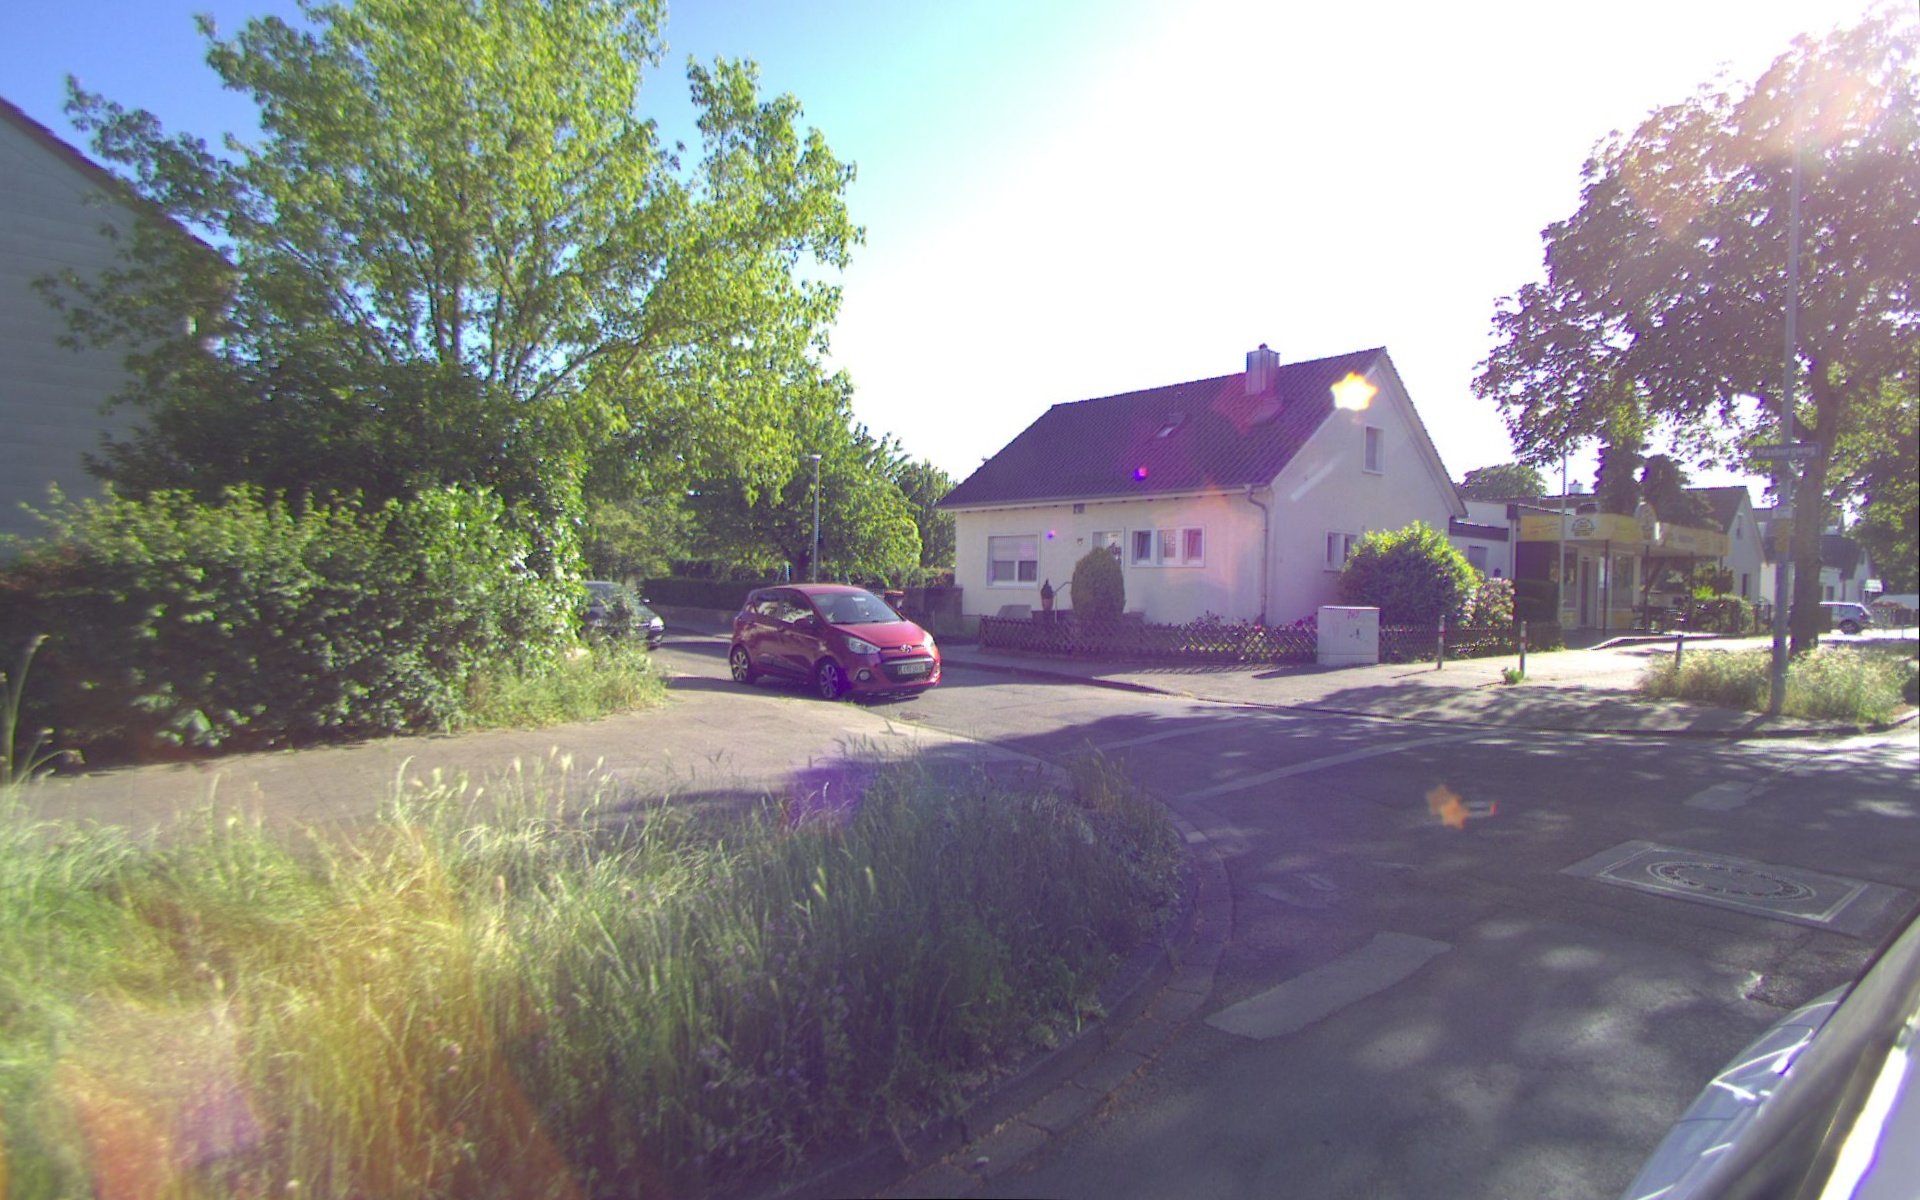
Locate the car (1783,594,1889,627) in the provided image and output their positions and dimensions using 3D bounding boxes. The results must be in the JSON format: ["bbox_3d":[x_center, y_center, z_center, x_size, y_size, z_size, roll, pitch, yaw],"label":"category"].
[{"bbox_3d":[41.484,0.498,47.976,1.667,1.458,3.615,0,-2,-42],"label":"car"}]

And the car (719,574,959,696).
[{"bbox_3d":[-1.816,0.427,14.497,1.612,1.530,3.544,2,0,-43],"label":"car"}]

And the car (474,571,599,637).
[{"bbox_3d":[-10.721,0.047,25.461,1.854,1.529,4.311,1,1,-37],"label":"car"}]

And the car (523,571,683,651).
[{"bbox_3d":[-7.722,0.172,21.720,1.812,1.529,3.958,0,1,-43],"label":"car"}]
